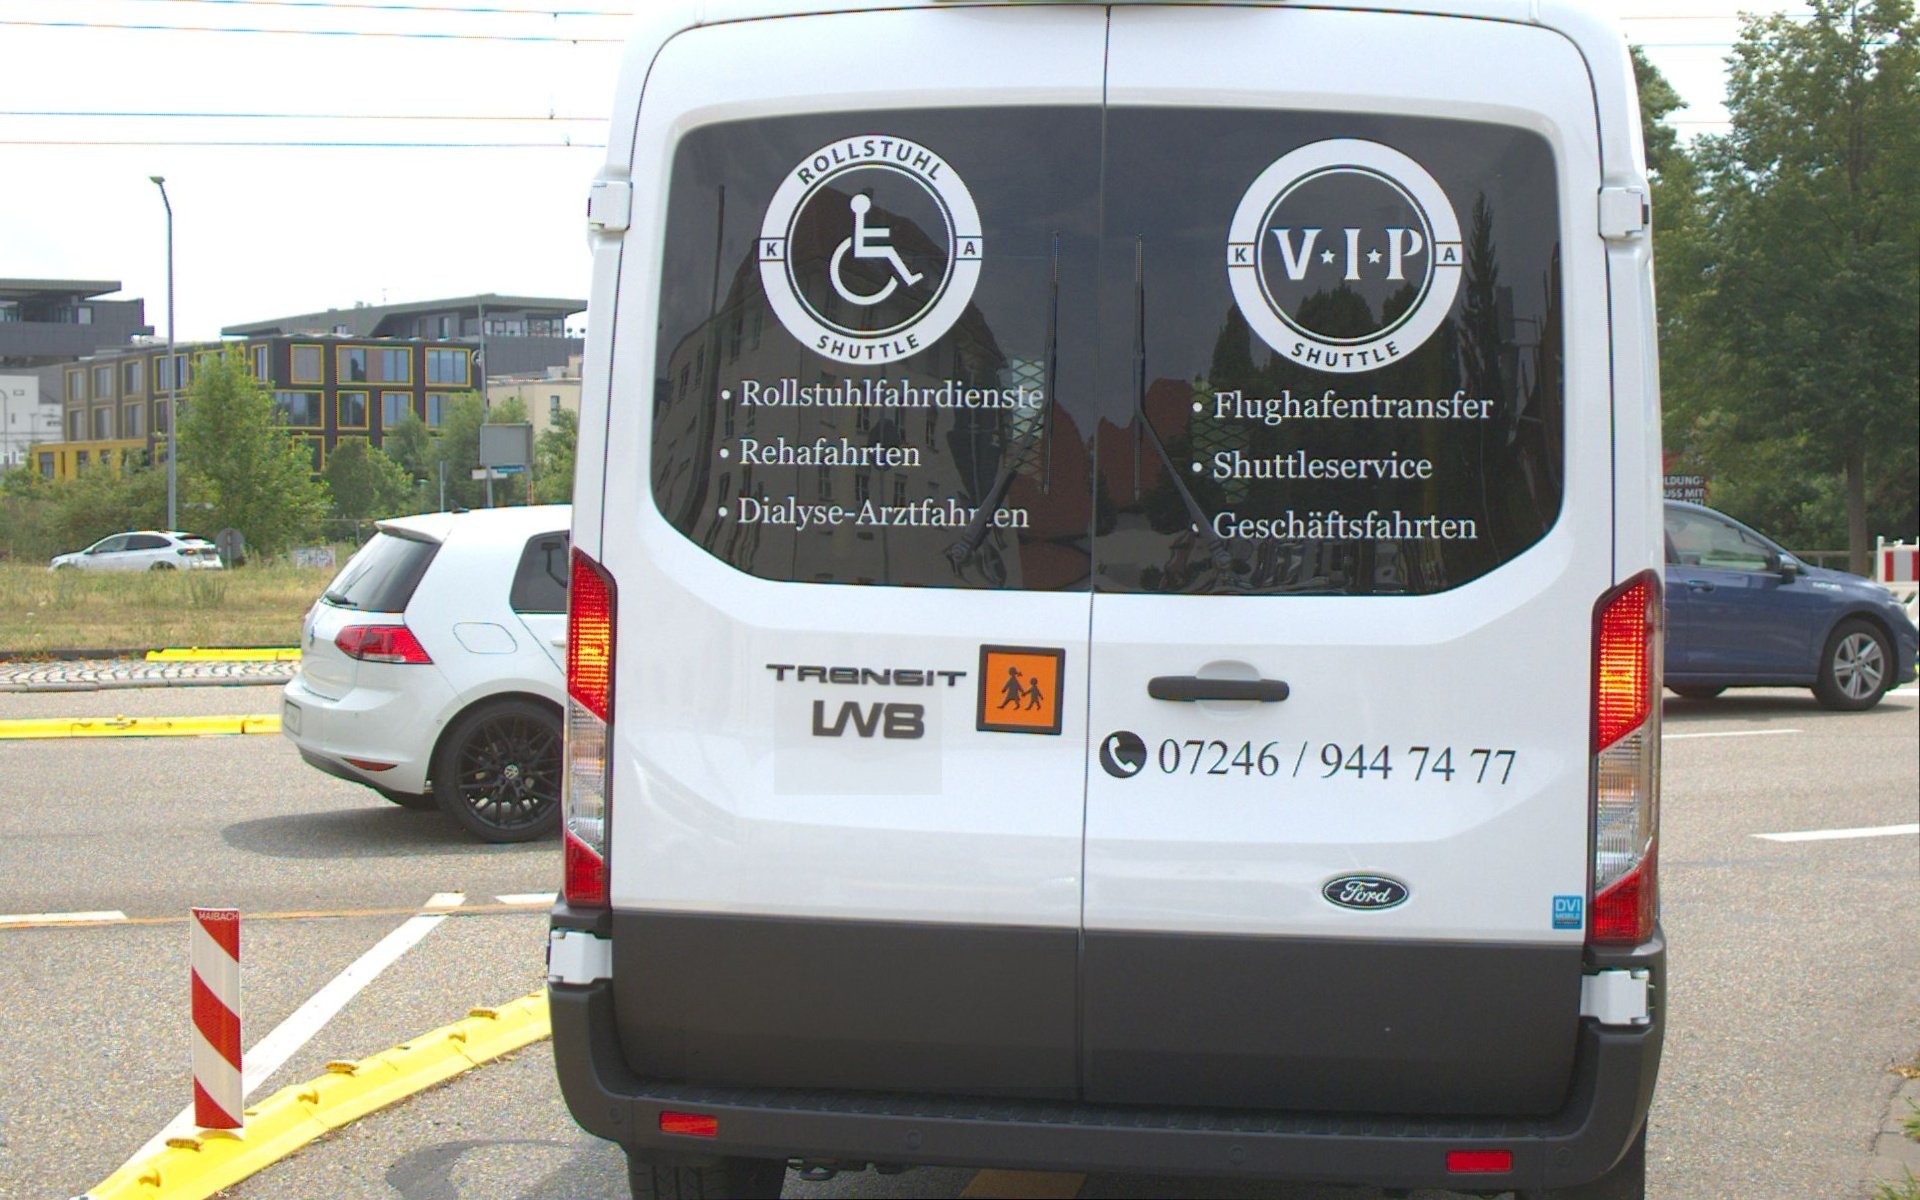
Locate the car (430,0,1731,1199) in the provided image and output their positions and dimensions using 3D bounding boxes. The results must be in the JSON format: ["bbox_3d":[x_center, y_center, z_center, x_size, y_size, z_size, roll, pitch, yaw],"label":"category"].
[{"bbox_3d":[0.553,-0.056,8.399,2.127,2.688,5.630,0,1,8],"label":"car"}]

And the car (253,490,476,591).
[{"bbox_3d":[-12.106,-1.201,69.986,3.990,2.007,1.998,1,0,18],"label":"car"}]

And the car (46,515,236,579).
[{"bbox_3d":[-19.342,-1.251,81.169,3.991,1.458,1.831,1,0,19],"label":"car"}]

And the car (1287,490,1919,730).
[{"bbox_3d":[4.392,0.011,23.151,4.103,1.492,1.802,-1,2,-32],"label":"car"}]

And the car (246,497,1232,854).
[{"bbox_3d":[-1.051,0.277,15.997,4.245,1.492,1.802,-1,1,-19],"label":"car"}]

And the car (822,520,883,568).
[{"bbox_3d":[-3.338,-1.728,106.226,1.827,1.458,4.000,0,1,-2],"label":"car"}]
